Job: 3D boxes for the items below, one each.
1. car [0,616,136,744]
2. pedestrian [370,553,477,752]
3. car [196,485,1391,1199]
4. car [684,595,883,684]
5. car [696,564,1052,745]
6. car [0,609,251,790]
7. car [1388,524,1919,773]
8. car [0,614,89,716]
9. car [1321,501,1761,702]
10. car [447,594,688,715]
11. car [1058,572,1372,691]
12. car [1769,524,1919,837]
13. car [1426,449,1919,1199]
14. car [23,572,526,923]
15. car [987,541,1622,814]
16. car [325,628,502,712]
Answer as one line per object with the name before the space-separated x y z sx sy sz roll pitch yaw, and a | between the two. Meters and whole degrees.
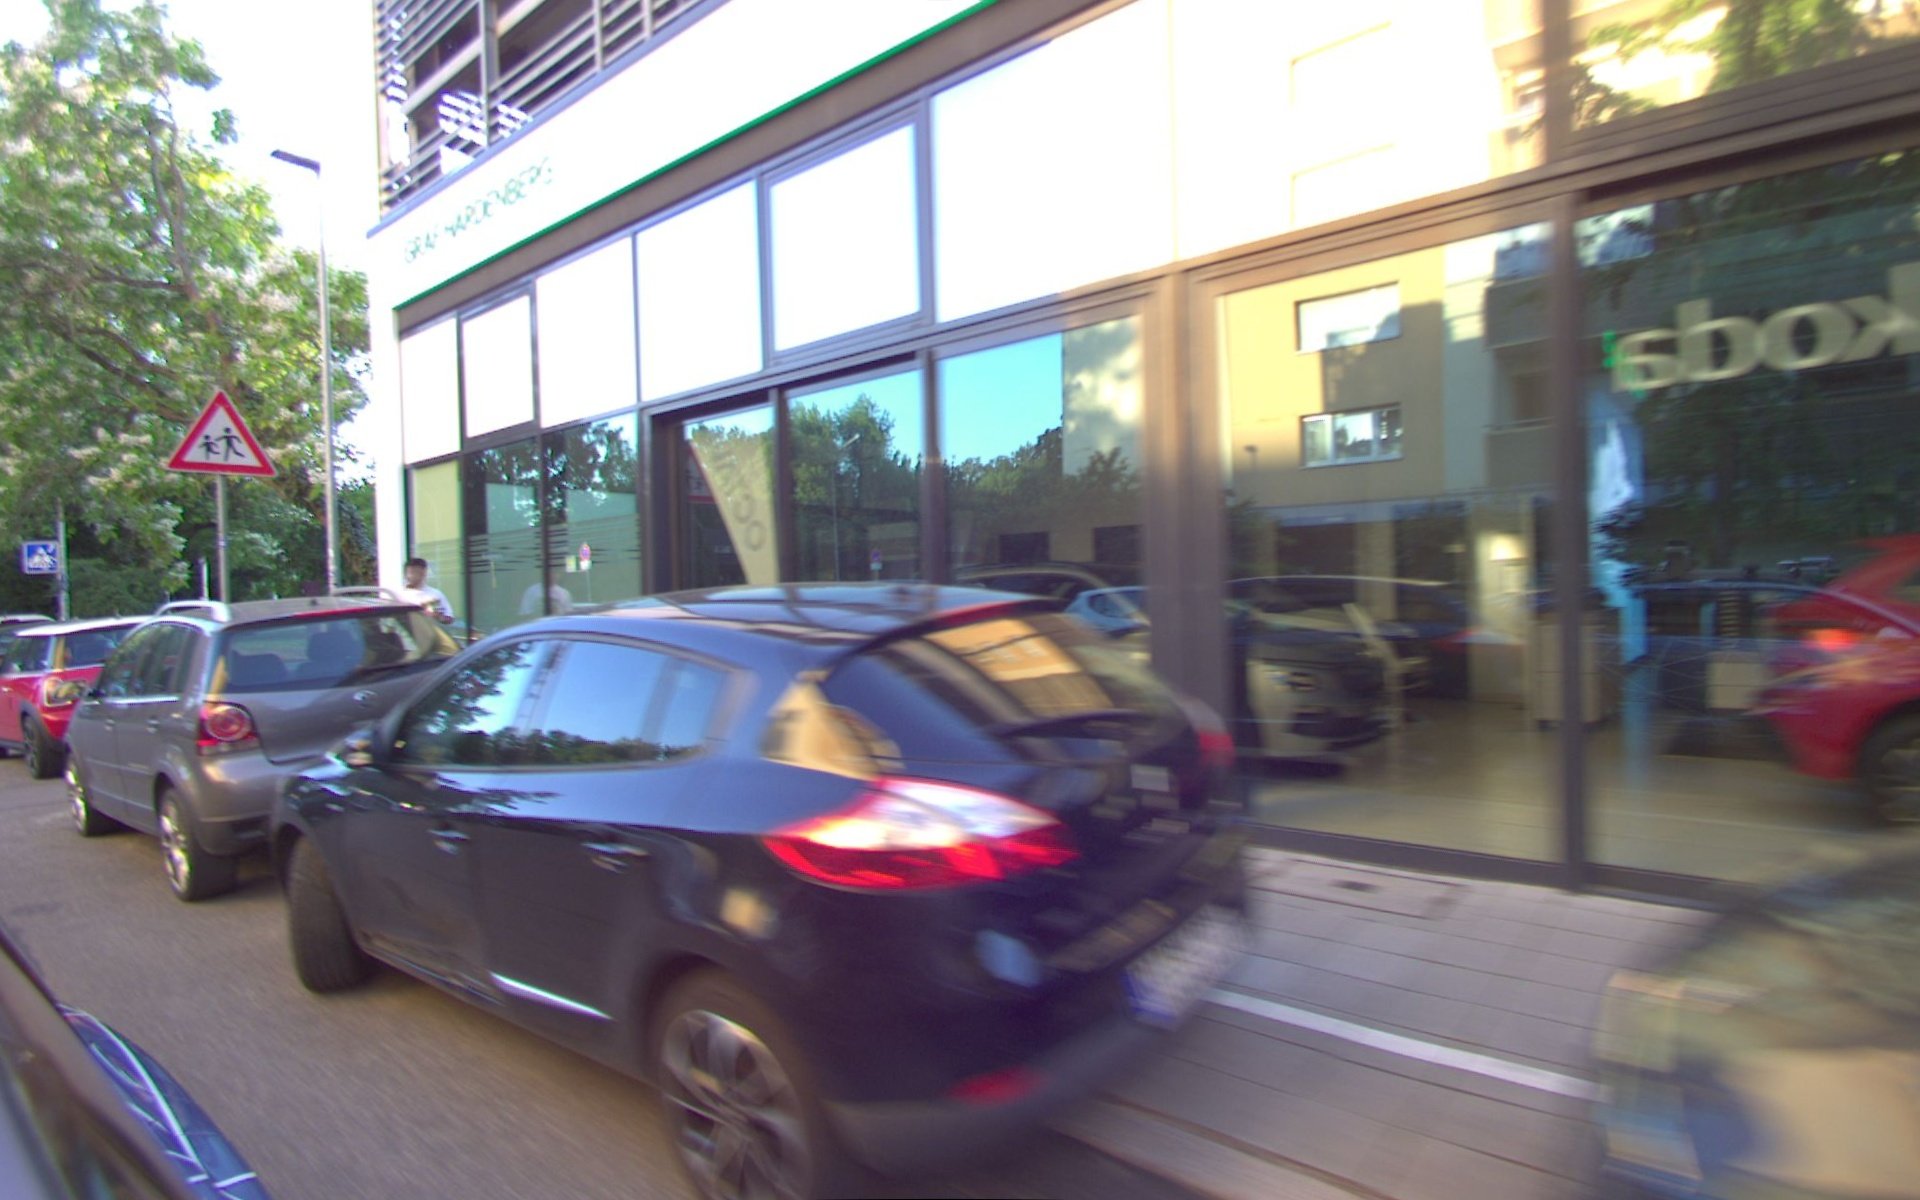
car | -13.464 1.109 14.454 4.409 1.426 1.646 -3 5 39
pedestrian | -5.347 0.504 10.091 0.620 1.892 0.713 -3 -1 41
car | -0.897 0.555 3.474 4.002 1.412 1.713 -3 5 39
car | -3.537 0.773 19.931 3.916 1.573 1.680 -3 -1 40
car | -1.057 0.554 11.126 3.873 1.662 1.577 -3 -1 40
car | -9.313 0.966 10.768 3.920 1.420 1.647 -3 4 37
car | 6.023 0.354 8.251 4.321 1.671 1.680 -3 -1 40
car | -16.839 1.157 17.516 3.874 1.525 1.648 -3 2 34
car | 6.247 0.067 11.112 3.916 1.830 1.680 -3 -1 40
car | -5.832 0.766 14.844 3.873 1.534 1.577 -3 -1 40
car | 3.494 0.438 14.253 3.916 1.445 1.680 -3 -1 40
car | 6.316 0.323 4.644 3.990 1.526 1.680 -3 -1 40
car | 2.710 0.584 0.356 4.203 1.609 1.917 -3 -1 42
car | -4.646 0.747 6.638 3.882 1.508 1.645 -3 5 41
car | 2.382 0.492 7.649 4.188 1.526 1.680 -3 -1 40
car | -9.873 1.217 18.202 3.448 1.303 1.577 -3 -1 39
